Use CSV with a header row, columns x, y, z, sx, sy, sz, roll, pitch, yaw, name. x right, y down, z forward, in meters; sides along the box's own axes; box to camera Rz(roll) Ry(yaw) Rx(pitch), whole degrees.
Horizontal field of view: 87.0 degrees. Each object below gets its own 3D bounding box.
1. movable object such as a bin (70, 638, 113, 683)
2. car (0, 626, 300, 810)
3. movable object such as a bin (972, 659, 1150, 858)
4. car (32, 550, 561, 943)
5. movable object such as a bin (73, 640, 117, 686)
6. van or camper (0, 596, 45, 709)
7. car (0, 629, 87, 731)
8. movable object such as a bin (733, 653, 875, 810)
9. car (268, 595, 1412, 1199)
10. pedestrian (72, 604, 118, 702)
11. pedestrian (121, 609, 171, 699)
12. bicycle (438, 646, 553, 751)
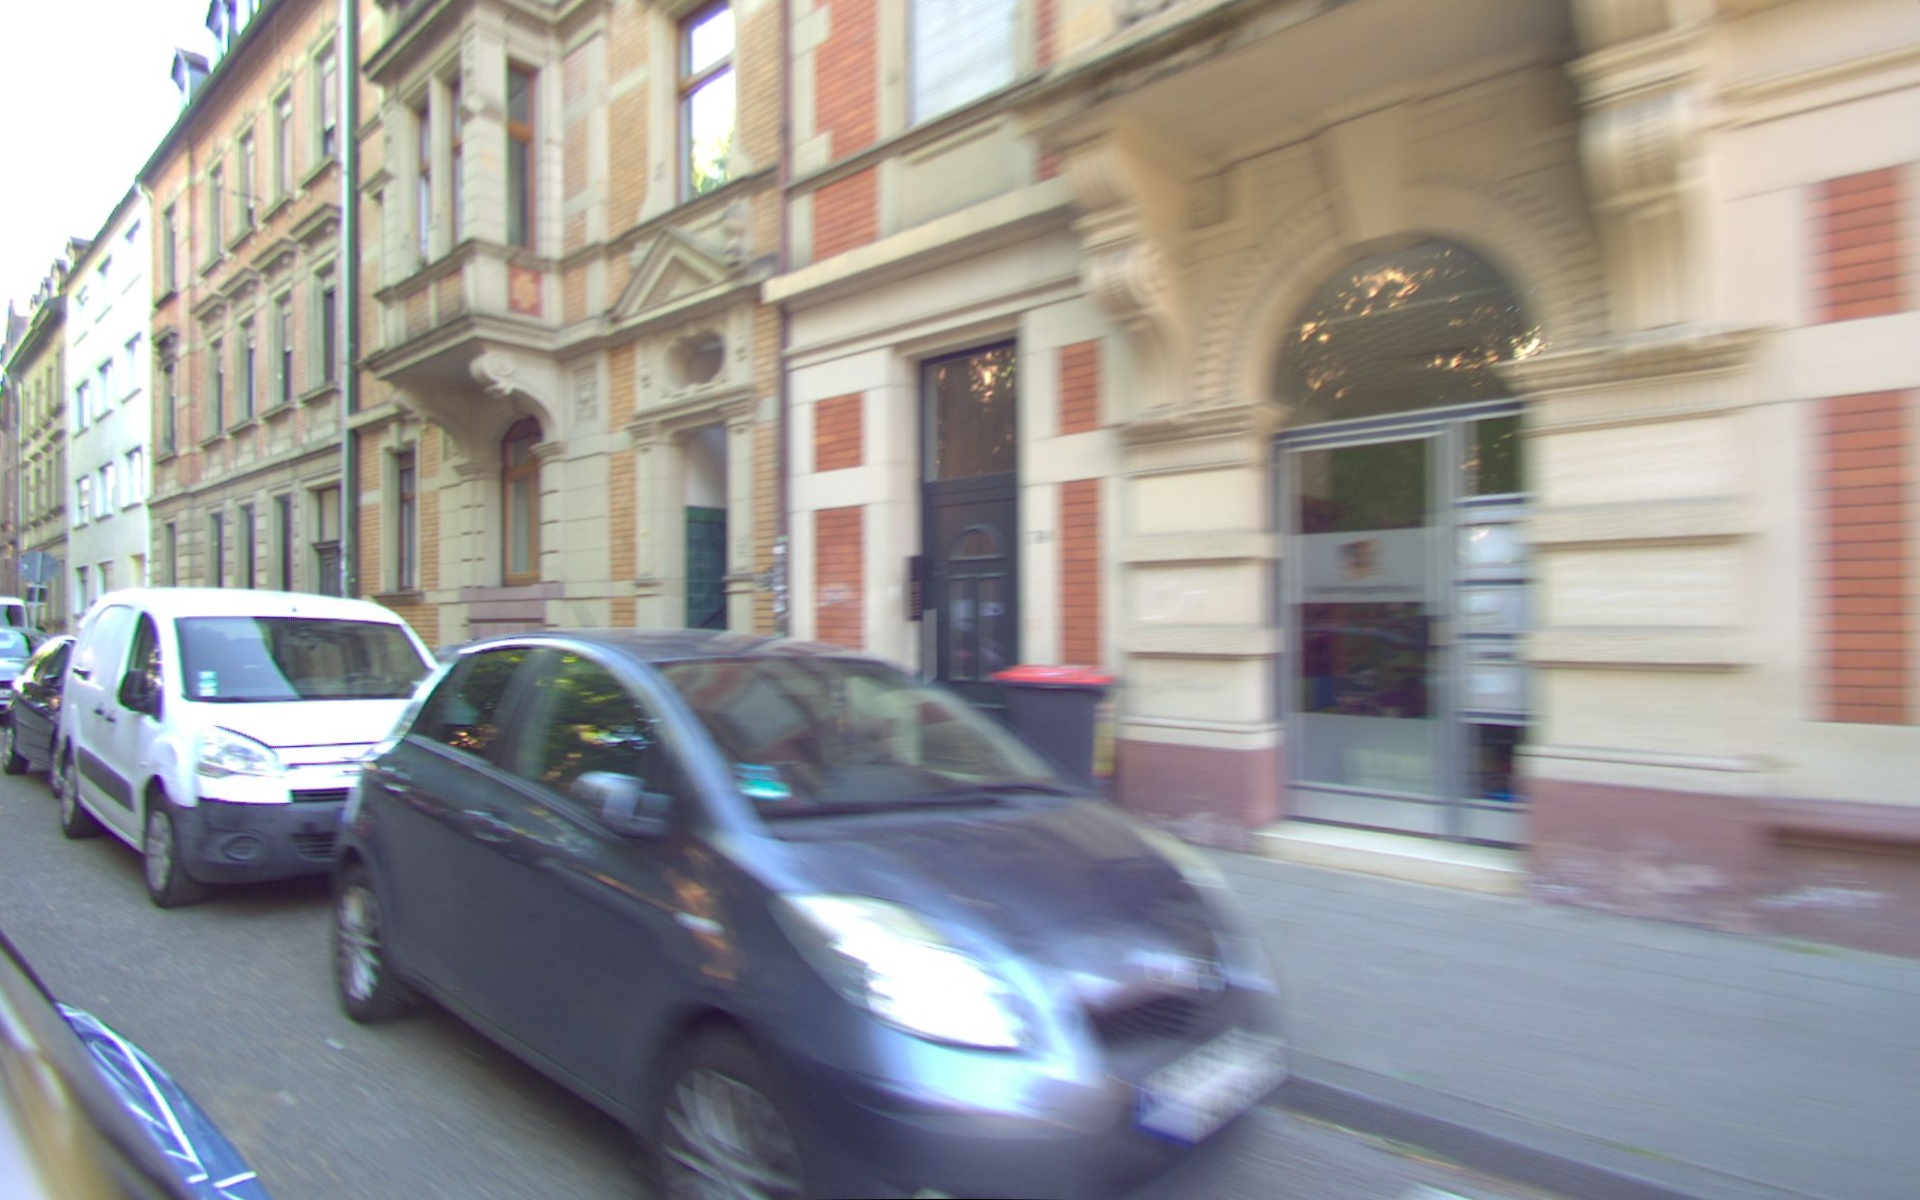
x,y,z,sx,sy,sz,roll,pitch,yaw,name
-22.482,1.557,26.186,0.666,1.096,0.791,0,0,45,movable object such as a bin
-8.449,1.052,10.311,3.968,1.526,1.676,-1,-3,38,car
0.614,0.917,6.179,0.856,1.049,0.631,-1,1,41,movable object such as a bin
-4.737,0.763,6.919,4.569,1.825,1.812,-2,-3,41,car
-21.883,1.589,25.602,0.666,1.096,0.791,0,0,45,movable object such as a bin
-20.600,1.046,20.778,5.153,2.164,2.153,-2,-4,43,van or camper
-15.892,1.249,16.578,4.190,1.526,1.748,-2,-3,40,car
-1.183,0.958,7.665,0.856,1.049,0.631,-1,1,41,movable object such as a bin
-0.773,0.813,3.506,3.970,1.492,1.675,-2,-3,41,car
-17.251,1.033,20.175,0.904,1.896,0.573,0,0,41,pedestrian
-16.593,1.086,20.622,0.649,1.785,0.694,0,0,41,pedestrian
-5.236,1.071,11.370,1.545,1.049,0.565,-1,1,41,bicycle
